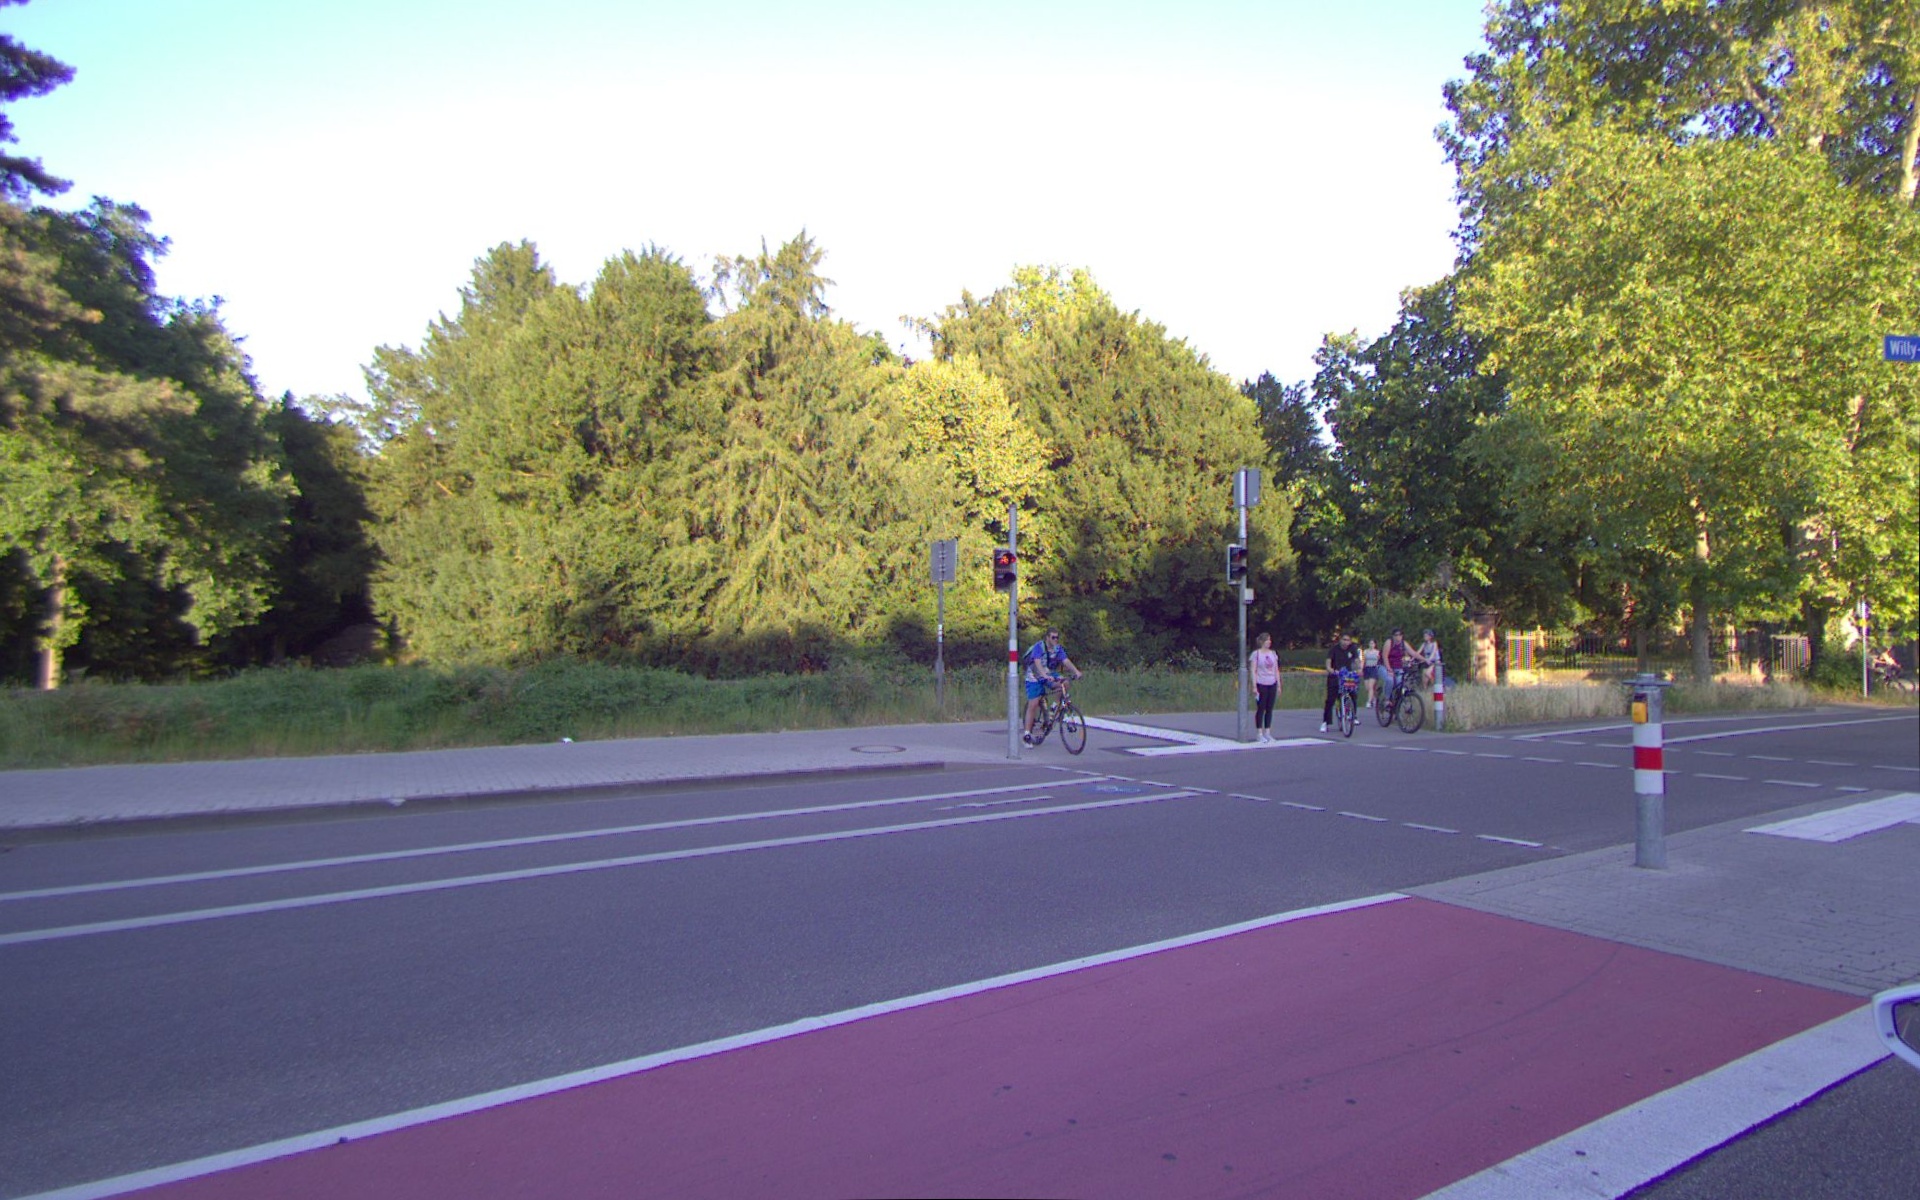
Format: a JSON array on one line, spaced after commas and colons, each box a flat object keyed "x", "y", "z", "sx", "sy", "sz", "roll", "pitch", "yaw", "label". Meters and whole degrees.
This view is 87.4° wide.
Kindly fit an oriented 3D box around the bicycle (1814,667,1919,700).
[{"x": 29.147, "y": 2.679, "z": 32.329, "sx": 0.765, "sy": 0.936, "sz": 2.420, "roll": 1, "pitch": -2, "yaw": -29, "label": "bicycle"}]

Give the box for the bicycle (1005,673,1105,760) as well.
[{"x": 1.364, "y": 1.678, "z": 14.938, "sx": 0.760, "sy": 1.115, "sz": 2.115, "roll": 1, "pitch": -2, "yaw": -16, "label": "bicycle"}]

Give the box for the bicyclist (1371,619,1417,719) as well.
[{"x": 8.009, "y": 1.261, "z": 18.572, "sx": 0.564, "sy": 1.803, "sz": 0.640, "roll": 0, "pitch": -2, "yaw": 1, "label": "bicyclist"}]

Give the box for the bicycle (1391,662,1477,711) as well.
[{"x": 11.150, "y": 2.015, "z": 23.579, "sx": 2.272, "sy": 1.046, "sz": 0.735, "roll": 2, "pitch": -1, "yaw": -32, "label": "bicycle"}]

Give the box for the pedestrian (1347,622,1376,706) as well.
[{"x": 10.015, "y": 1.581, "z": 25.070, "sx": 0.638, "sy": 2.040, "sz": 0.606, "roll": 0, "pitch": -1, "yaw": 22, "label": "pedestrian"}]

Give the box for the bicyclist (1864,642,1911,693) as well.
[{"x": 30.670, "y": 2.221, "z": 33.224, "sx": 0.743, "sy": 1.652, "sz": 0.954, "roll": 1, "pitch": -2, "yaw": -29, "label": "bicyclist"}]

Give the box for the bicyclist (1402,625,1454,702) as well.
[{"x": 10.945, "y": 1.464, "z": 23.488, "sx": 0.935, "sy": 1.751, "sz": 0.750, "roll": 1, "pitch": -1, "yaw": -35, "label": "bicyclist"}]

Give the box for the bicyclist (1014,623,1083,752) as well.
[{"x": 1.319, "y": 1.269, "z": 14.965, "sx": 0.730, "sy": 1.848, "sz": 0.705, "roll": 1, "pitch": -1, "yaw": -34, "label": "bicyclist"}]

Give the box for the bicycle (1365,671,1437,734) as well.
[{"x": 8.016, "y": 1.847, "z": 18.341, "sx": 0.568, "sy": 1.043, "sz": 1.772, "roll": 0, "pitch": -2, "yaw": 1, "label": "bicycle"}]

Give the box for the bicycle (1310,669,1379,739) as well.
[{"x": 6.671, "y": 1.782, "z": 17.490, "sx": 0.620, "sy": 1.126, "sz": 1.569, "roll": 0, "pitch": -2, "yaw": 1, "label": "bicycle"}]

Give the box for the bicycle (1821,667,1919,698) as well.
[{"x": 30.458, "y": 2.731, "z": 33.570, "sx": 0.765, "sy": 0.936, "sz": 2.420, "roll": 1, "pitch": -2, "yaw": -29, "label": "bicycle"}]

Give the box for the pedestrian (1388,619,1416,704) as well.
[{"x": 10.905, "y": 1.505, "z": 24.776, "sx": 0.584, "sy": 2.040, "sz": 0.642, "roll": 0, "pitch": -1, "yaw": 20, "label": "pedestrian"}]

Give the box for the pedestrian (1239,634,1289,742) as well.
[{"x": 4.957, "y": 1.411, "z": 16.388, "sx": 0.492, "sy": 1.718, "sz": 0.604, "roll": 1, "pitch": -2, "yaw": -28, "label": "pedestrian"}]

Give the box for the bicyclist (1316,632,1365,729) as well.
[{"x": 6.682, "y": 1.407, "z": 17.664, "sx": 0.618, "sy": 1.671, "sz": 0.640, "roll": 0, "pitch": -2, "yaw": 1, "label": "bicyclist"}]

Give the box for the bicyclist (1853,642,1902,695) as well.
[{"x": 29.298, "y": 2.174, "z": 32.071, "sx": 0.743, "sy": 1.652, "sz": 0.954, "roll": 1, "pitch": -2, "yaw": -29, "label": "bicyclist"}]
